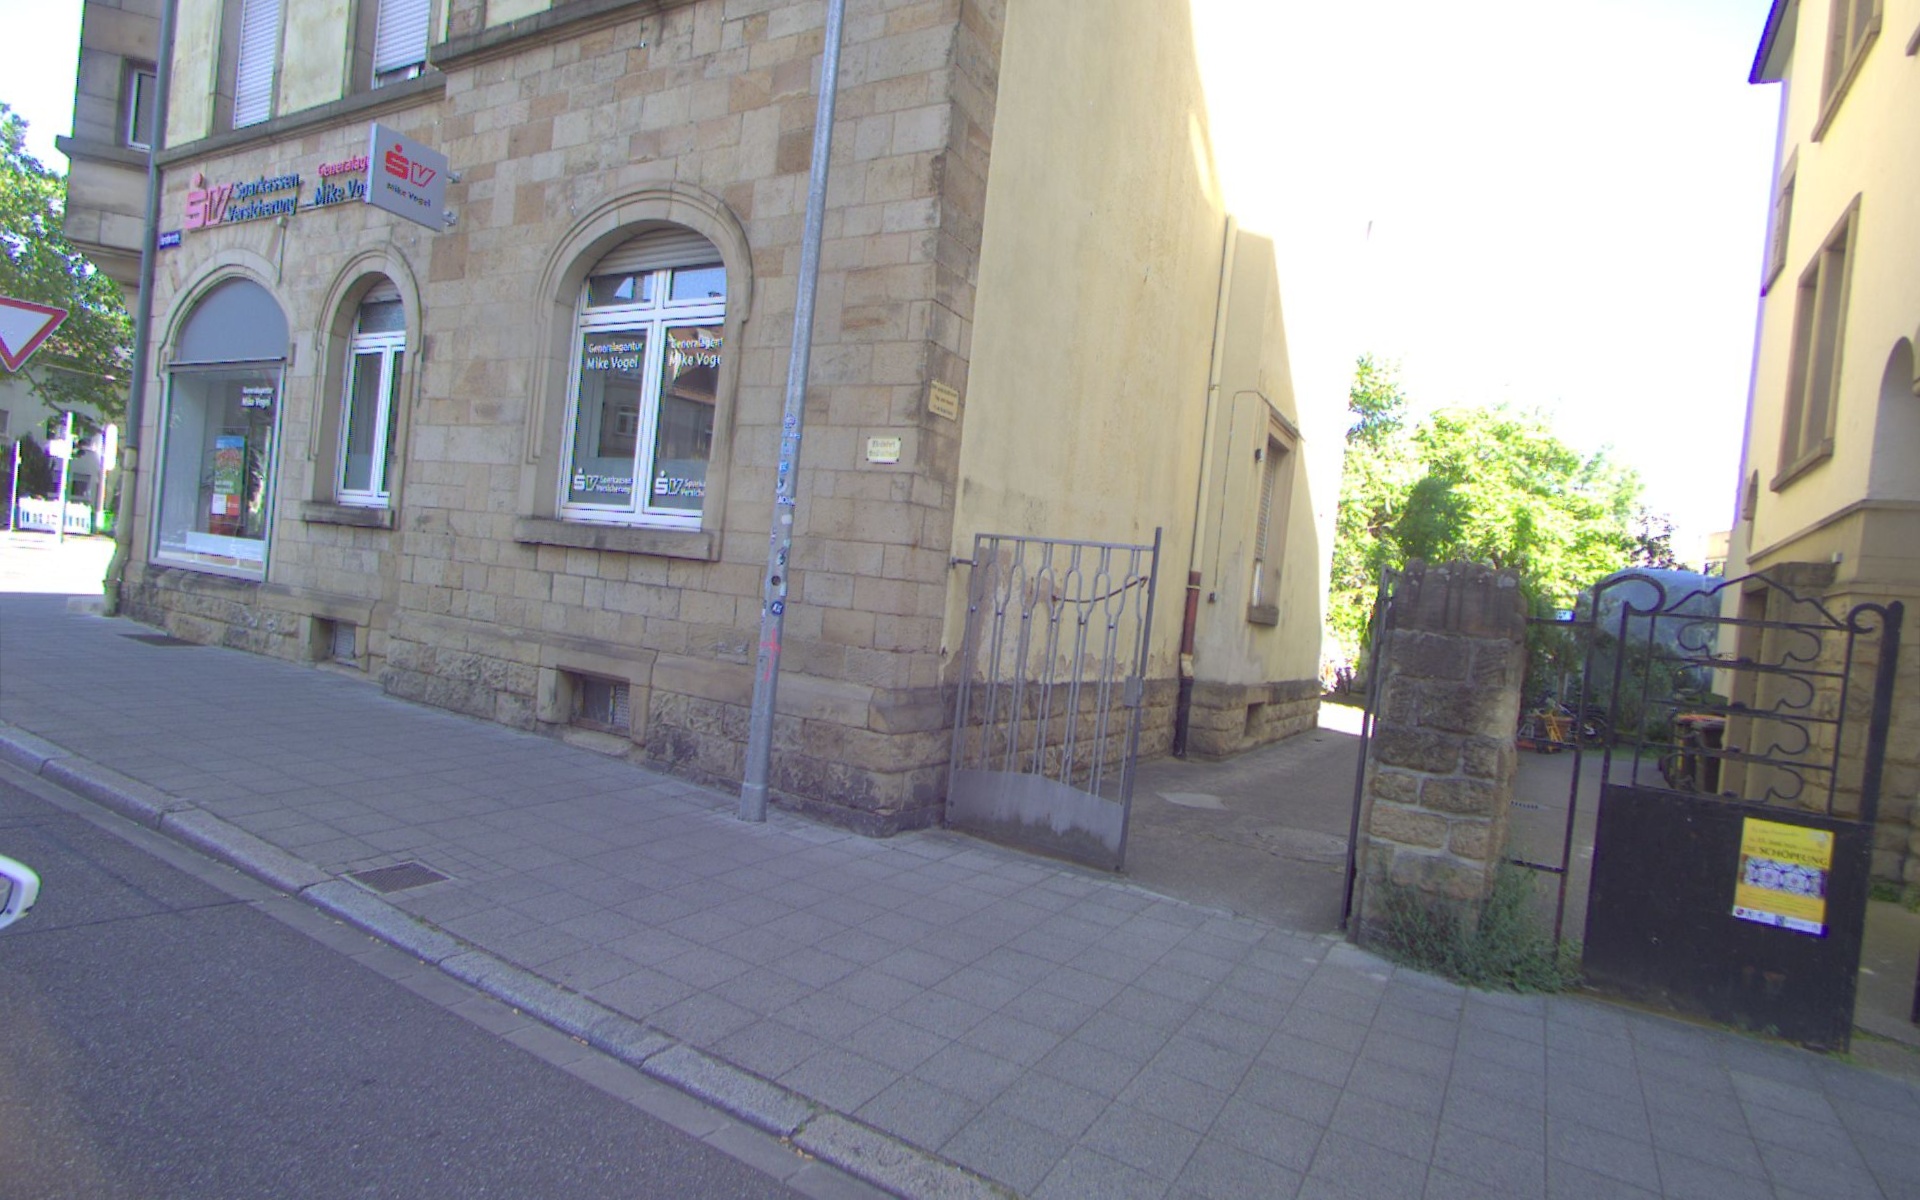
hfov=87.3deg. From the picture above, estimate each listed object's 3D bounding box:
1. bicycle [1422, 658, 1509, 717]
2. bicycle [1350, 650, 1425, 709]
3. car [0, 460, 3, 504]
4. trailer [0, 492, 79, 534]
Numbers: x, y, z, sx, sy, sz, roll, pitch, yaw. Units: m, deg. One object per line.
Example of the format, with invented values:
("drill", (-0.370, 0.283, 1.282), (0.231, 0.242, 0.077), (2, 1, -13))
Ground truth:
("bicycle", (12.298, 2.105, 24.617), (0.855, 1.124, 2.864), (6, 0, 7))
("bicycle", (10.611, 1.948, 25.087), (0.860, 1.180, 2.659), (6, 0, 6))
("car", (-36.776, -4.000, 34.109), (1.962, 2.600, 6.061), (7, 0, 14))
("trailer", (-35.687, -3.364, 38.436), (1.246, 1.328, 2.749), (7, 0, 13))
